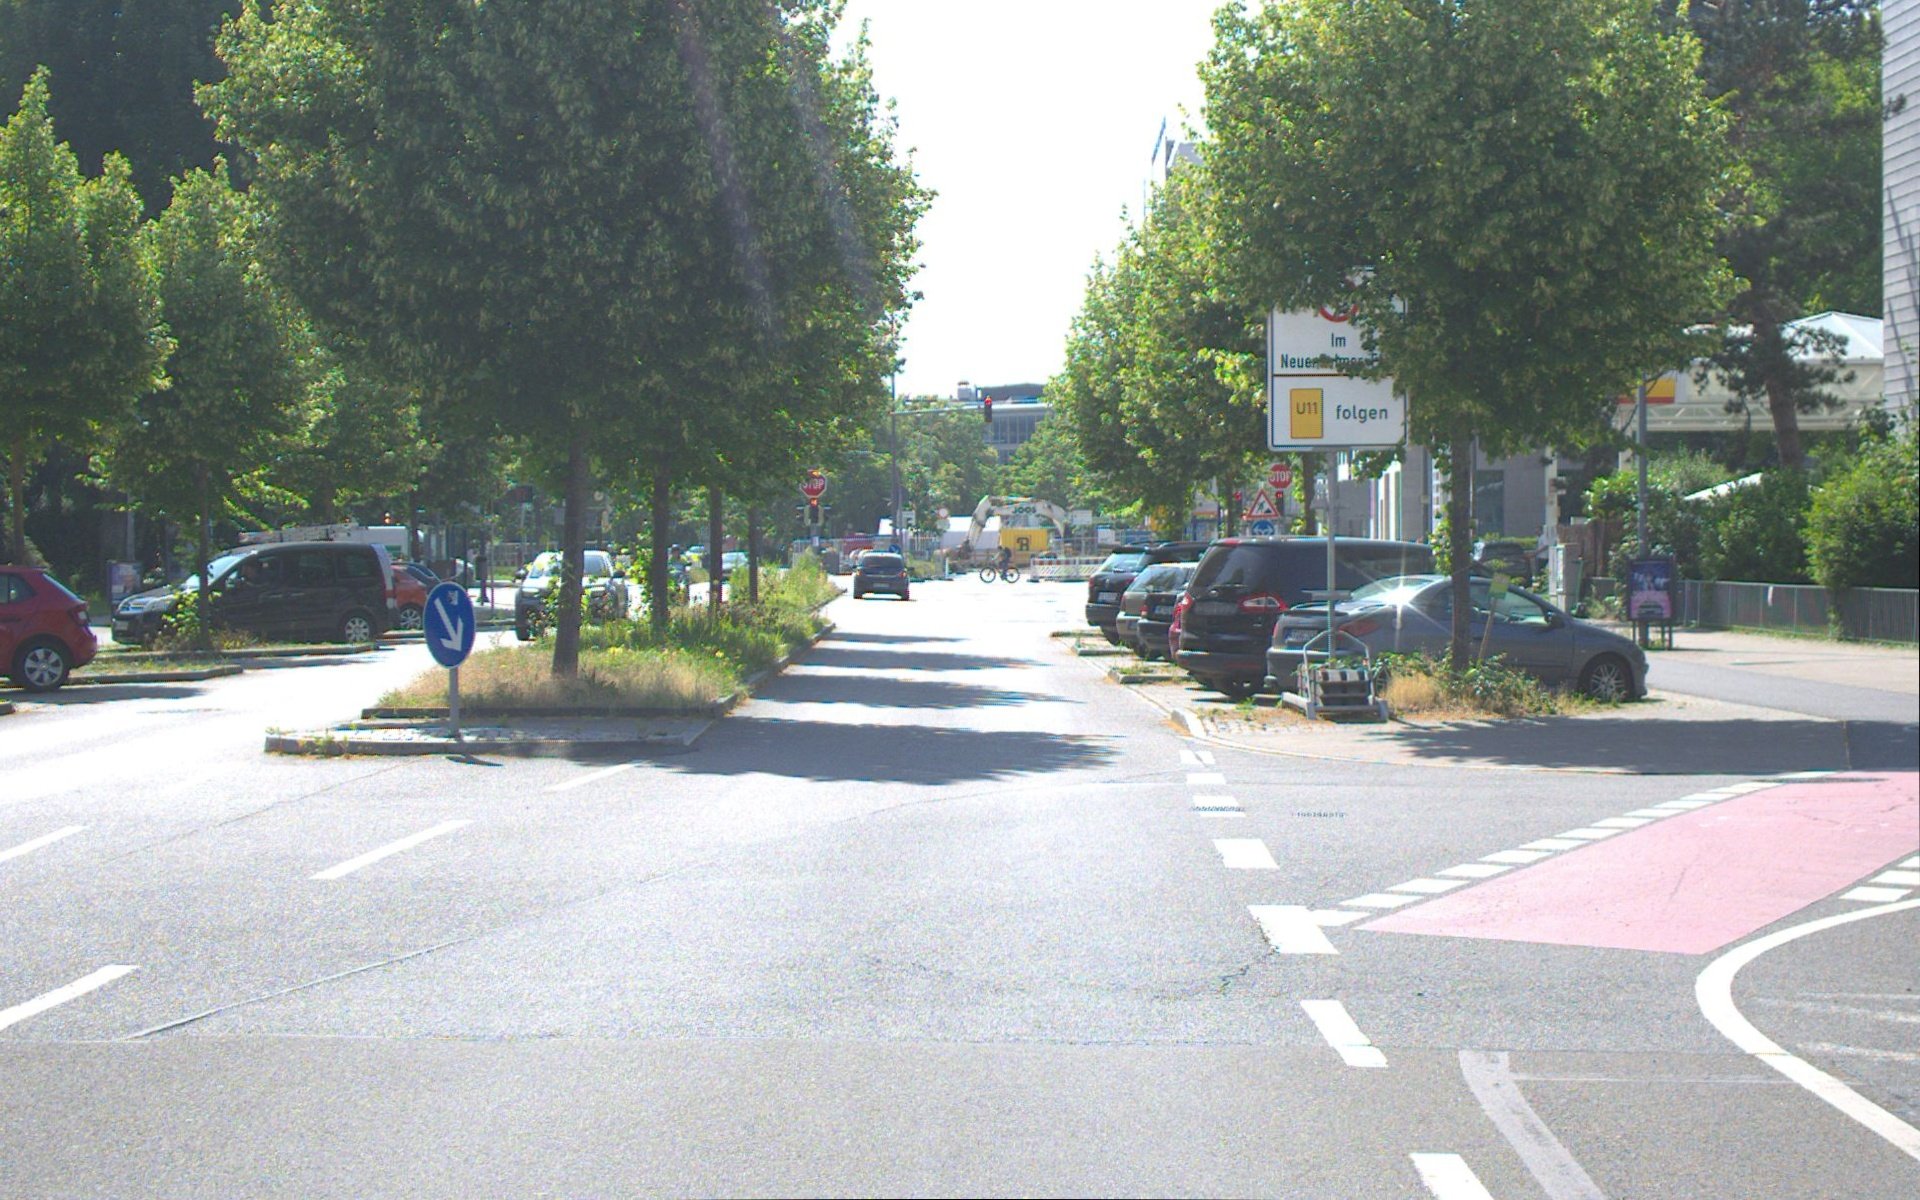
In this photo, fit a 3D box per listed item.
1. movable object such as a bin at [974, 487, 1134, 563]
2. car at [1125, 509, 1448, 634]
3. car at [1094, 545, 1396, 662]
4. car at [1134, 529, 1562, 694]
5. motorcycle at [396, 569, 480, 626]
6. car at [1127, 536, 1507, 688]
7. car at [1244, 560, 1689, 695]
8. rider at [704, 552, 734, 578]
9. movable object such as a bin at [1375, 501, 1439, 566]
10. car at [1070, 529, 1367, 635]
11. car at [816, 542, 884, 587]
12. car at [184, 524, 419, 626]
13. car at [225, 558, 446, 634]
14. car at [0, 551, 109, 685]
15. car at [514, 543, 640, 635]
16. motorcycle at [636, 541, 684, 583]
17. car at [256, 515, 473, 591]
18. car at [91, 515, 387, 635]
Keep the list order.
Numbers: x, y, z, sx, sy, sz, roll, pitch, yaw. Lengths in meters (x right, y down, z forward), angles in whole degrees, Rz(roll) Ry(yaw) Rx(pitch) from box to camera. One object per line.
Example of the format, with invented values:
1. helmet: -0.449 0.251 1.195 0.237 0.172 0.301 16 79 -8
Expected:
1. movable object such as a bin: 5.751 -4.589 210.392 9.675 4.534 3.164 0 1 2
2. car: 4.419 -0.410 46.594 3.986 1.634 1.753 -1 2 -22
3. car: 4.082 0.025 49.436 3.986 1.634 1.753 0 1 -12
4. car: 4.080 0.080 36.013 4.107 1.634 2.044 -1 1 -33
5. motorcycle: -11.715 -0.059 77.209 1.845 1.280 0.693 0 1 -7
6. car: 4.075 0.137 39.058 3.987 1.634 1.880 0 -1 -34
7. car: 4.934 0.238 33.463 3.986 1.232 1.753 0 1 -26
8. rider: -11.391 -1.672 162.629 1.391 1.191 2.698 0 1 -3
9. movable object such as a bin: 11.424 -1.707 87.915 1.307 1.586 1.396 -3 1 -3
10. car: 4.216 -0.310 55.777 4.731 1.654 1.753 -1 1 -34
11. car: -3.457 -1.124 107.362 1.993 1.393 4.001 0 1 -4
12. car: -11.749 -0.455 61.330 3.761 1.766 1.819 0 1 -26
13. car: -12.000 -0.096 66.145 3.830 1.418 1.715 0 1 -36
14. car: -11.920 0.230 39.329 3.986 1.461 2.001 -2 2 -21
15. car: -6.804 -0.210 61.401 1.741 1.542 4.073 -1 1 1
16. motorcycle: -7.178 -0.926 82.385 0.923 0.989 2.235 0 1 1
17. car: -21.419 -1.718 123.973 7.427 2.665 2.903 0 2 -3
18. car: -11.567 -0.436 55.258 4.176 1.810 2.004 -2 2 -38
